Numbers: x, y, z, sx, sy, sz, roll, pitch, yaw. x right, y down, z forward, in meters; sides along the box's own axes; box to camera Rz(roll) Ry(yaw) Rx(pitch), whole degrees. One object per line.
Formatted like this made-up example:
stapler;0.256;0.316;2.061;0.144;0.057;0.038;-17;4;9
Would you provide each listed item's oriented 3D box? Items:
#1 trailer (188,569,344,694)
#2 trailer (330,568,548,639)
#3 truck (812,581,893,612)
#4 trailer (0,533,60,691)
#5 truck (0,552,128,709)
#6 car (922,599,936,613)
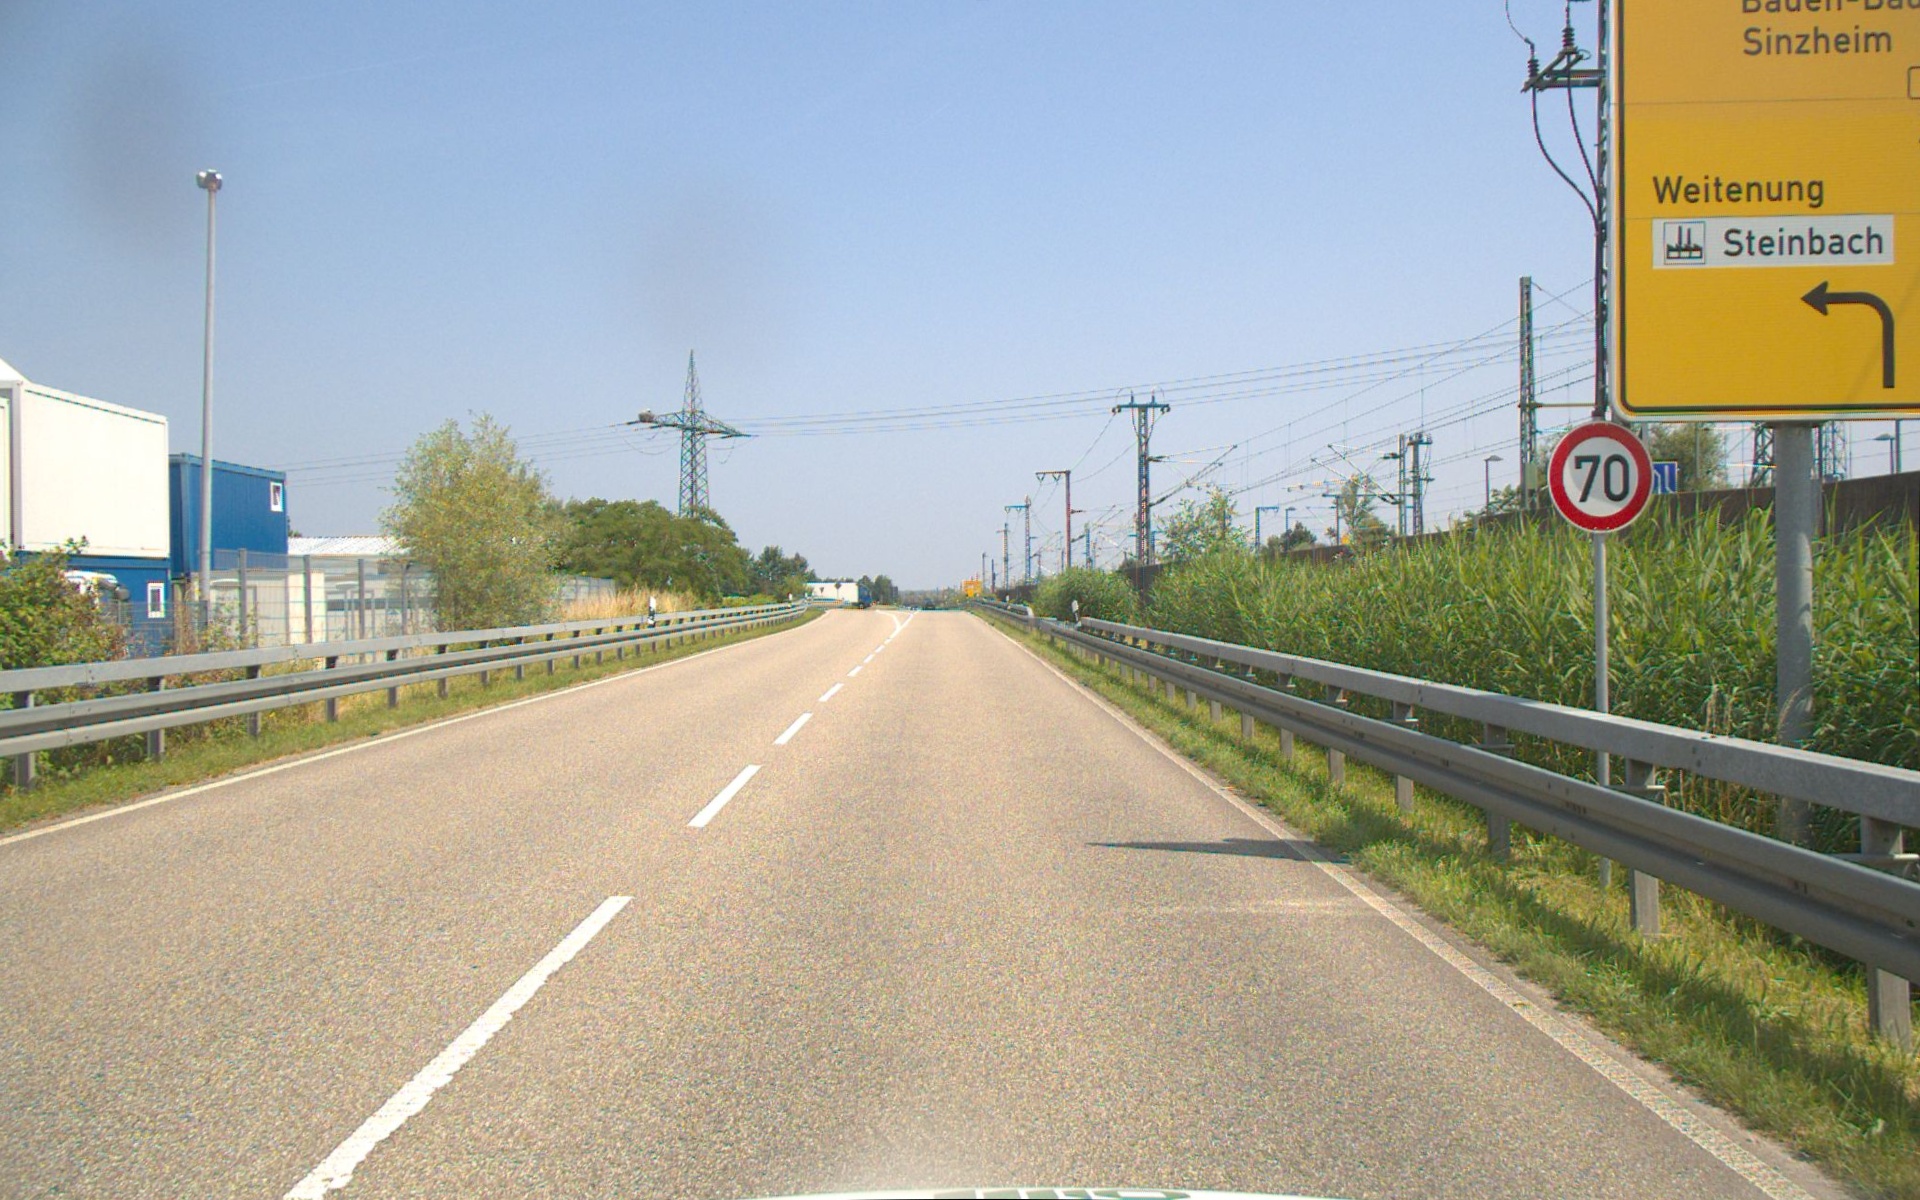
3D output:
trailer;-14.605;0.620;35.047;1.955;2.480;3.917;1;0;-6
trailer;-14.449;0.079;46.169;5.277;1.881;2.543;1;0;-2
truck;-13.653;-0.506;210.854;10.205;3.695;2.843;1;0;-3
trailer;-13.334;0.149;19.528;2.159;2.039;6.966;1;0;-6
truck;-13.712;0.372;23.377;2.159;2.039;3.995;1;0;-6
car;-4.753;0.913;254.130;1.954;2.049;3.996;0;0;-5
